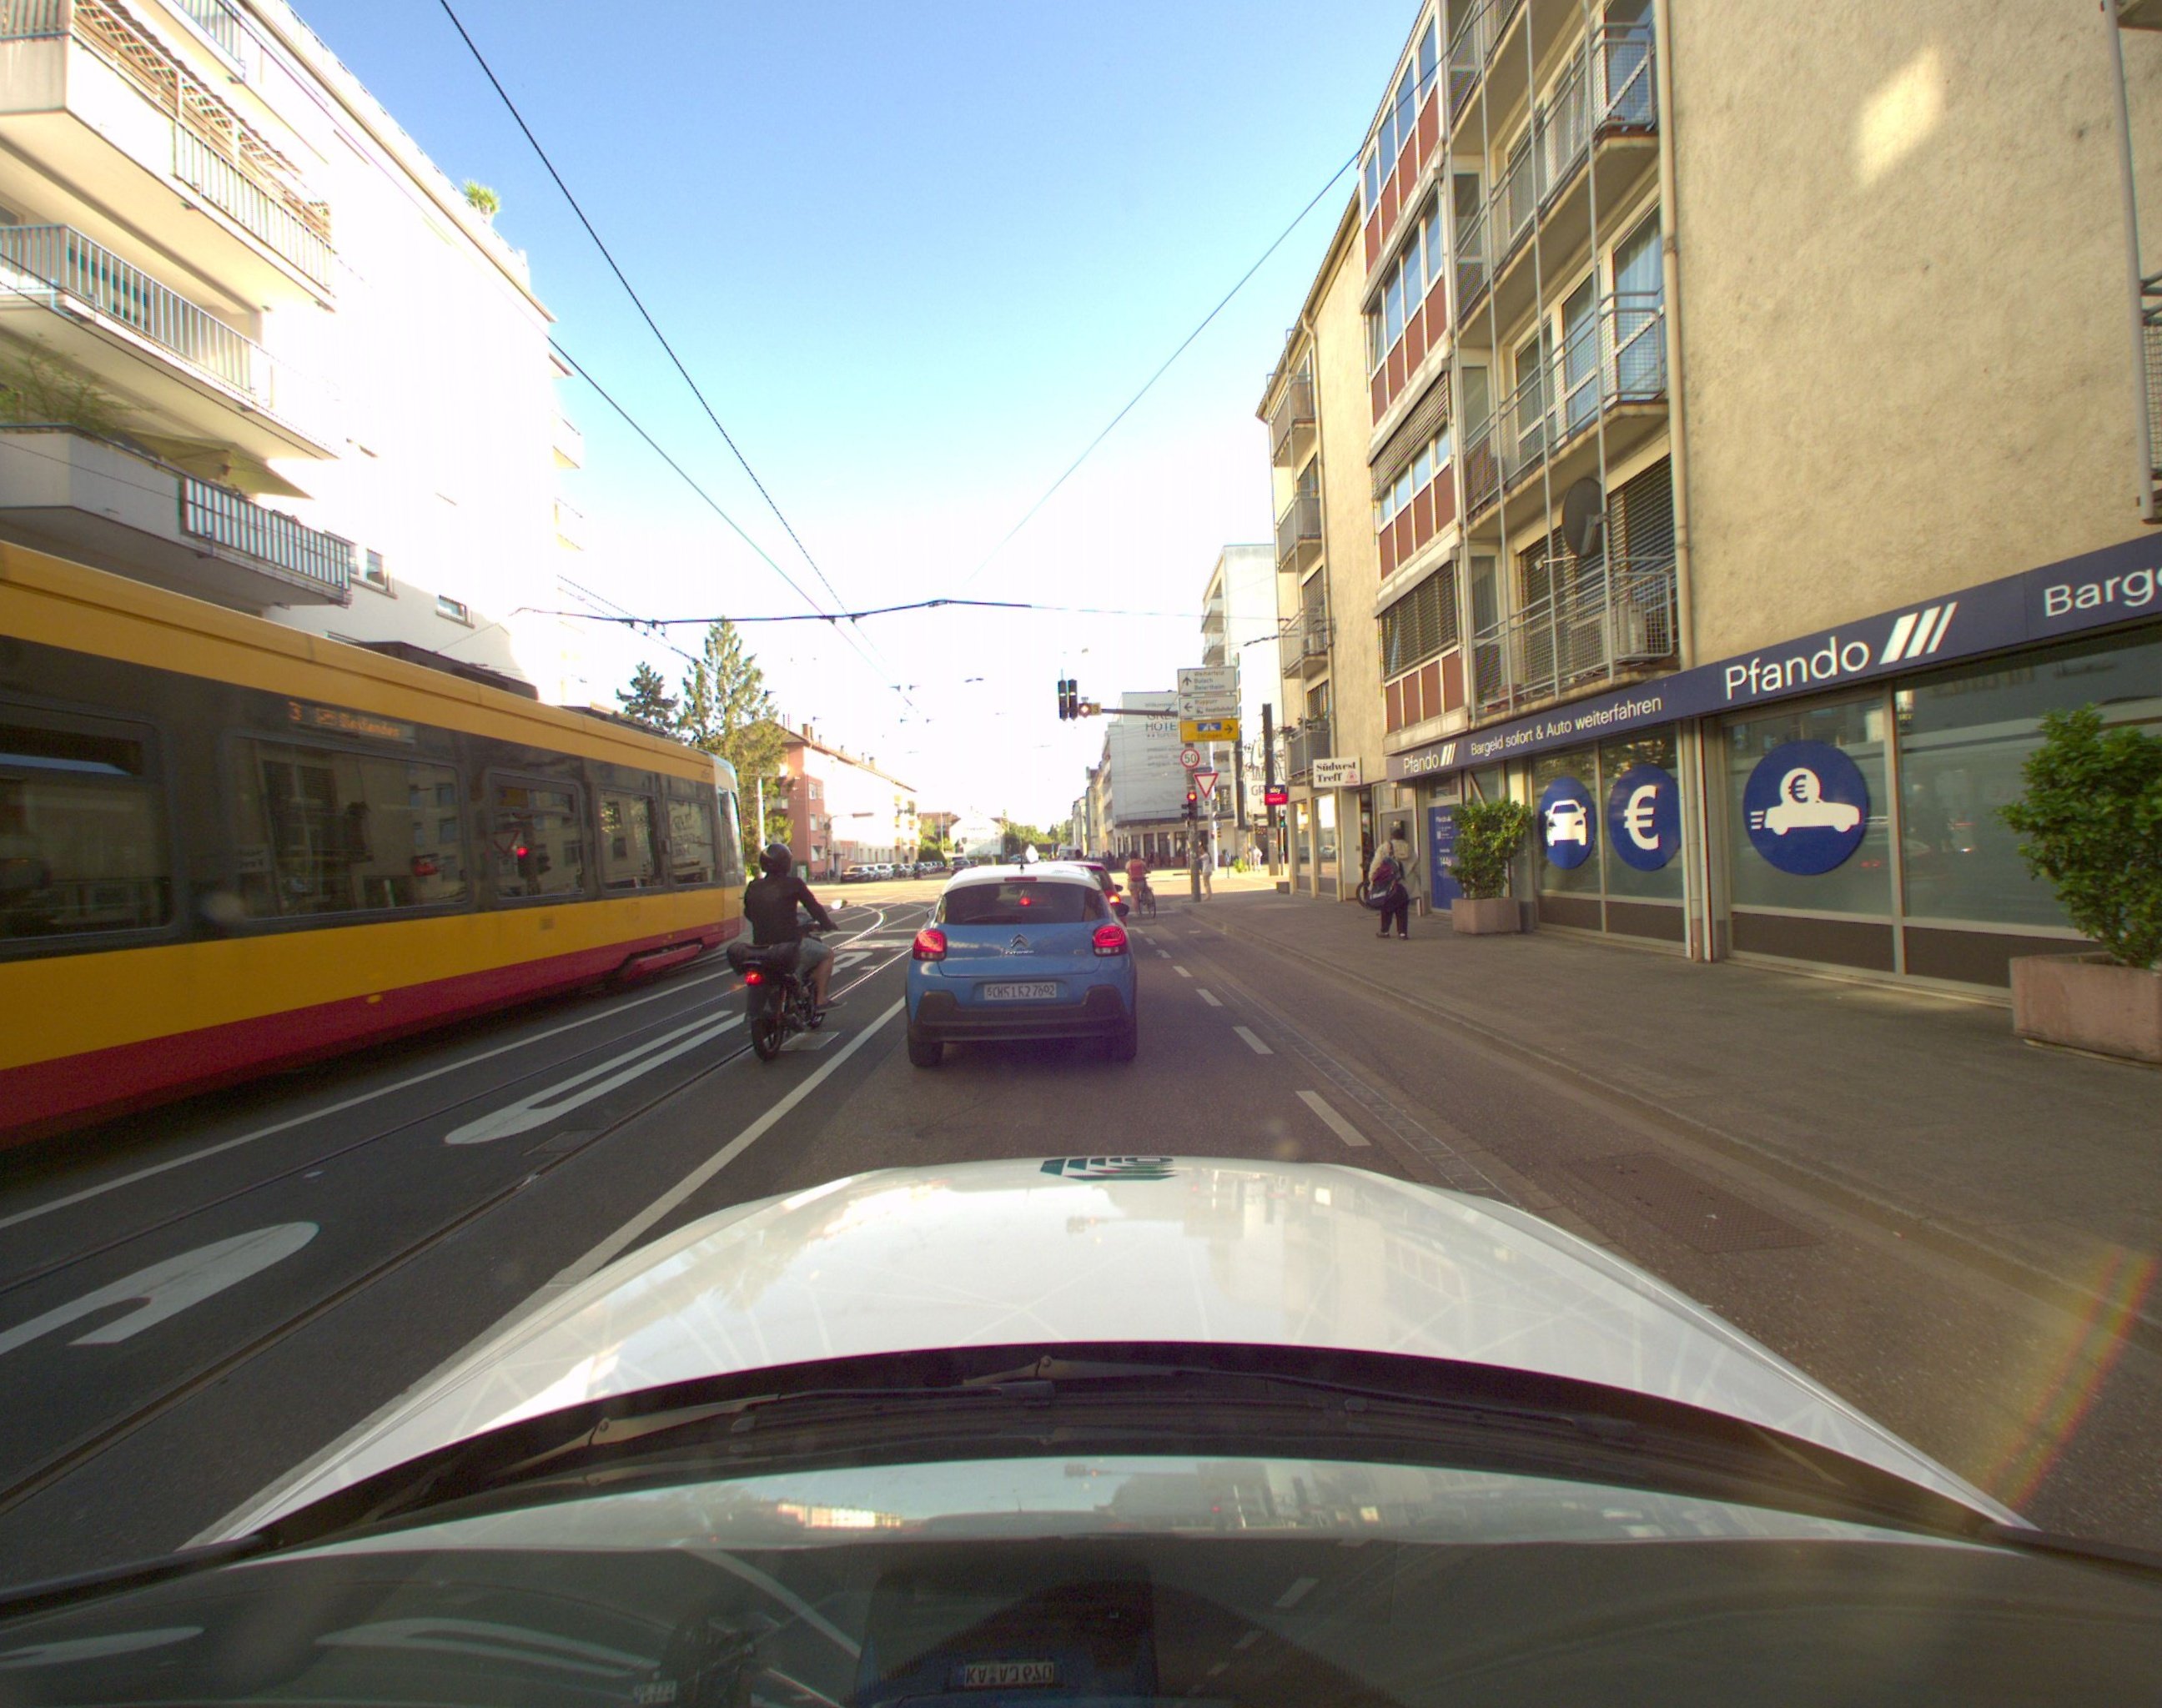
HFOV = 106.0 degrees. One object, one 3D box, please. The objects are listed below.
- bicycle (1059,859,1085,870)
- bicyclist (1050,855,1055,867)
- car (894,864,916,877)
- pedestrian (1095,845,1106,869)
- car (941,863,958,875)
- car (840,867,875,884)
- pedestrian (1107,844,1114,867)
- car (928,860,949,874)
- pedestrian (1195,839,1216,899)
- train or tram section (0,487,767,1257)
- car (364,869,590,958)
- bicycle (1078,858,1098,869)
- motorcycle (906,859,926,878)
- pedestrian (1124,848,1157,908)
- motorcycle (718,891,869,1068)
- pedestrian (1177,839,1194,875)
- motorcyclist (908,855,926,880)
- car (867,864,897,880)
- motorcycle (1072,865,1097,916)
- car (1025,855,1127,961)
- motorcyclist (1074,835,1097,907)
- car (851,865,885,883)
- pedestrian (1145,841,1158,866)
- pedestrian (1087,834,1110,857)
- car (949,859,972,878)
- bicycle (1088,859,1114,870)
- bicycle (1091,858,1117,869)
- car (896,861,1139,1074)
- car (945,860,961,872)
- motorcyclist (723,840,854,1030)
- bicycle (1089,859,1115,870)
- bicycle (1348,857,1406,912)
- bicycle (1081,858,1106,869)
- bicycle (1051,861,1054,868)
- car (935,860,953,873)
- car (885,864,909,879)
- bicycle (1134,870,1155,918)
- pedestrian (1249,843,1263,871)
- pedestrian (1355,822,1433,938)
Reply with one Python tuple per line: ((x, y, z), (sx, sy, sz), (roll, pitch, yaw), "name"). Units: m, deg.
((-0.722, 0.882, 66.449), (2.130, 0.901, 0.366), (0, -1, -7), "bicycle")
((-3.352, 0.825, 95.641), (0.559, 1.477, 0.748), (0, -1, 0), "bicyclist")
((-20.022, 1.855, 92.790), (1.728, 1.498, 3.996), (0, -1, -2), "car")
((1.677, 0.278, 69.353), (0.635, 2.014, 0.717), (0, -1, -34), "pedestrian")
((-18.936, 2.126, 117.299), (1.828, 1.687, 3.998), (0, -1, -1), "car")
((-18.971, 1.815, 69.405), (1.787, 1.421, 3.996), (0, -1, 1), "car")
((2.535, 0.149, 70.409), (0.575, 2.014, 0.625), (0, -1, -1), "pedestrian")
((-18.672, 1.679, 106.867), (1.978, 1.687, 3.998), (0, -1, -1), "car")
((3.708, 0.442, 24.244), (0.515, 1.783, 0.595), (0, -1, 0), "pedestrian")
((-6.639, 0.121, 7.373), (2.738, 3.632, 14.249), (0, 0, -3), "train or tram section")
((-12.721, 1.159, 17.535), (1.864, 1.531, 4.068), (-2, 0, -2), "car")
((0.582, 0.823, 69.434), (1.765, 0.901, 0.369), (-1, -1, 36), "bicycle")
((-13.619, 1.176, 67.395), (0.921, 1.486, 3.724), (0, -1, -1), "motorcycle")
((1.475, 0.588, 20.331), (0.774, 1.460, 0.682), (0, -1, 1), "pedestrian")
((-2.368, 0.964, 6.969), (0.535, 1.219, 1.982), (0, -1, 2), "motorcycle")
((6.024, 0.176, 46.931), (0.922, 2.014, 0.760), (0, -1, 1), "pedestrian")
((-13.617, 1.128, 67.599), (1.182, 2.013, 1.275), (-2, 0, -1), "motorcyclist")
((-19.424, 1.744, 79.611), (1.781, 1.511, 4.150), (0, -1, 1), "car")
((0.106, 0.838, 19.547), (0.524, 1.139, 2.290), (0, -1, 2), "motorcycle")
((-0.029, 0.798, 13.262), (1.419, 1.467, 2.925), (-2, -1, 2), "car")
((0.113, 0.405, 19.739), (0.524, 1.716, 0.717), (0, -1, 2), "motorcyclist")
((-19.241, 1.783, 73.726), (1.808, 1.498, 4.302), (0, -1, 2), "car")
((5.758, -0.016, 66.632), (0.715, 2.014, 0.750), (0, -1, -40), "pedestrian")
((1.626, -0.723, 73.680), (1.986, 2.014, 4.001), (0, -1, 2), "pedestrian")
((-11.348, 1.346, 76.835), (1.770, 1.666, 3.854), (0, -1, -2), "car")
((1.697, 0.863, 67.722), (2.130, 0.901, 0.366), (0, -1, -7), "bicycle")
((1.873, 0.773, 66.013), (2.130, 0.901, 0.366), (0, -1, -7), "bicycle")
((-0.379, 0.788, 7.307), (1.648, 1.444, 3.524), (0, -1, 2), "car")
((-19.140, 1.770, 121.957), (1.841, 1.687, 3.872), (0, -1, -1), "car")
((-2.411, 0.644, 6.776), (0.857, 1.505, 0.598), (0, -1, 1), "motorcyclist")
((1.747, 0.871, 67.309), (2.130, 0.901, 0.366), (0, -1, -7), "bicycle")
((5.688, 0.559, 15.753), (0.540, 0.998, 1.706), (0, -1, 2), "bicycle")
((1.044, 0.825, 68.493), (2.130, 0.901, 0.366), (0, -1, -7), "bicycle")
((-3.355, 1.238, 95.644), (0.347, 0.903, 1.859), (0, -1, 0), "bicycle")
((-18.866, 1.688, 112.050), (1.877, 1.687, 3.998), (0, -1, -1), "car")
((-19.572, 1.814, 86.706), (1.781, 1.498, 3.998), (0, -1, -1), "car")
((1.591, 0.978, 20.611), (0.426, 1.123, 1.999), (0, -1, 2), "bicycle")
((10.746, 0.189, 49.936), (0.746, 1.657, 0.887), (-1, -1, 18), "pedestrian")
((4.458, 0.364, 11.642), (0.822, 1.593, 0.751), (0, -1, 1), "pedestrian")
